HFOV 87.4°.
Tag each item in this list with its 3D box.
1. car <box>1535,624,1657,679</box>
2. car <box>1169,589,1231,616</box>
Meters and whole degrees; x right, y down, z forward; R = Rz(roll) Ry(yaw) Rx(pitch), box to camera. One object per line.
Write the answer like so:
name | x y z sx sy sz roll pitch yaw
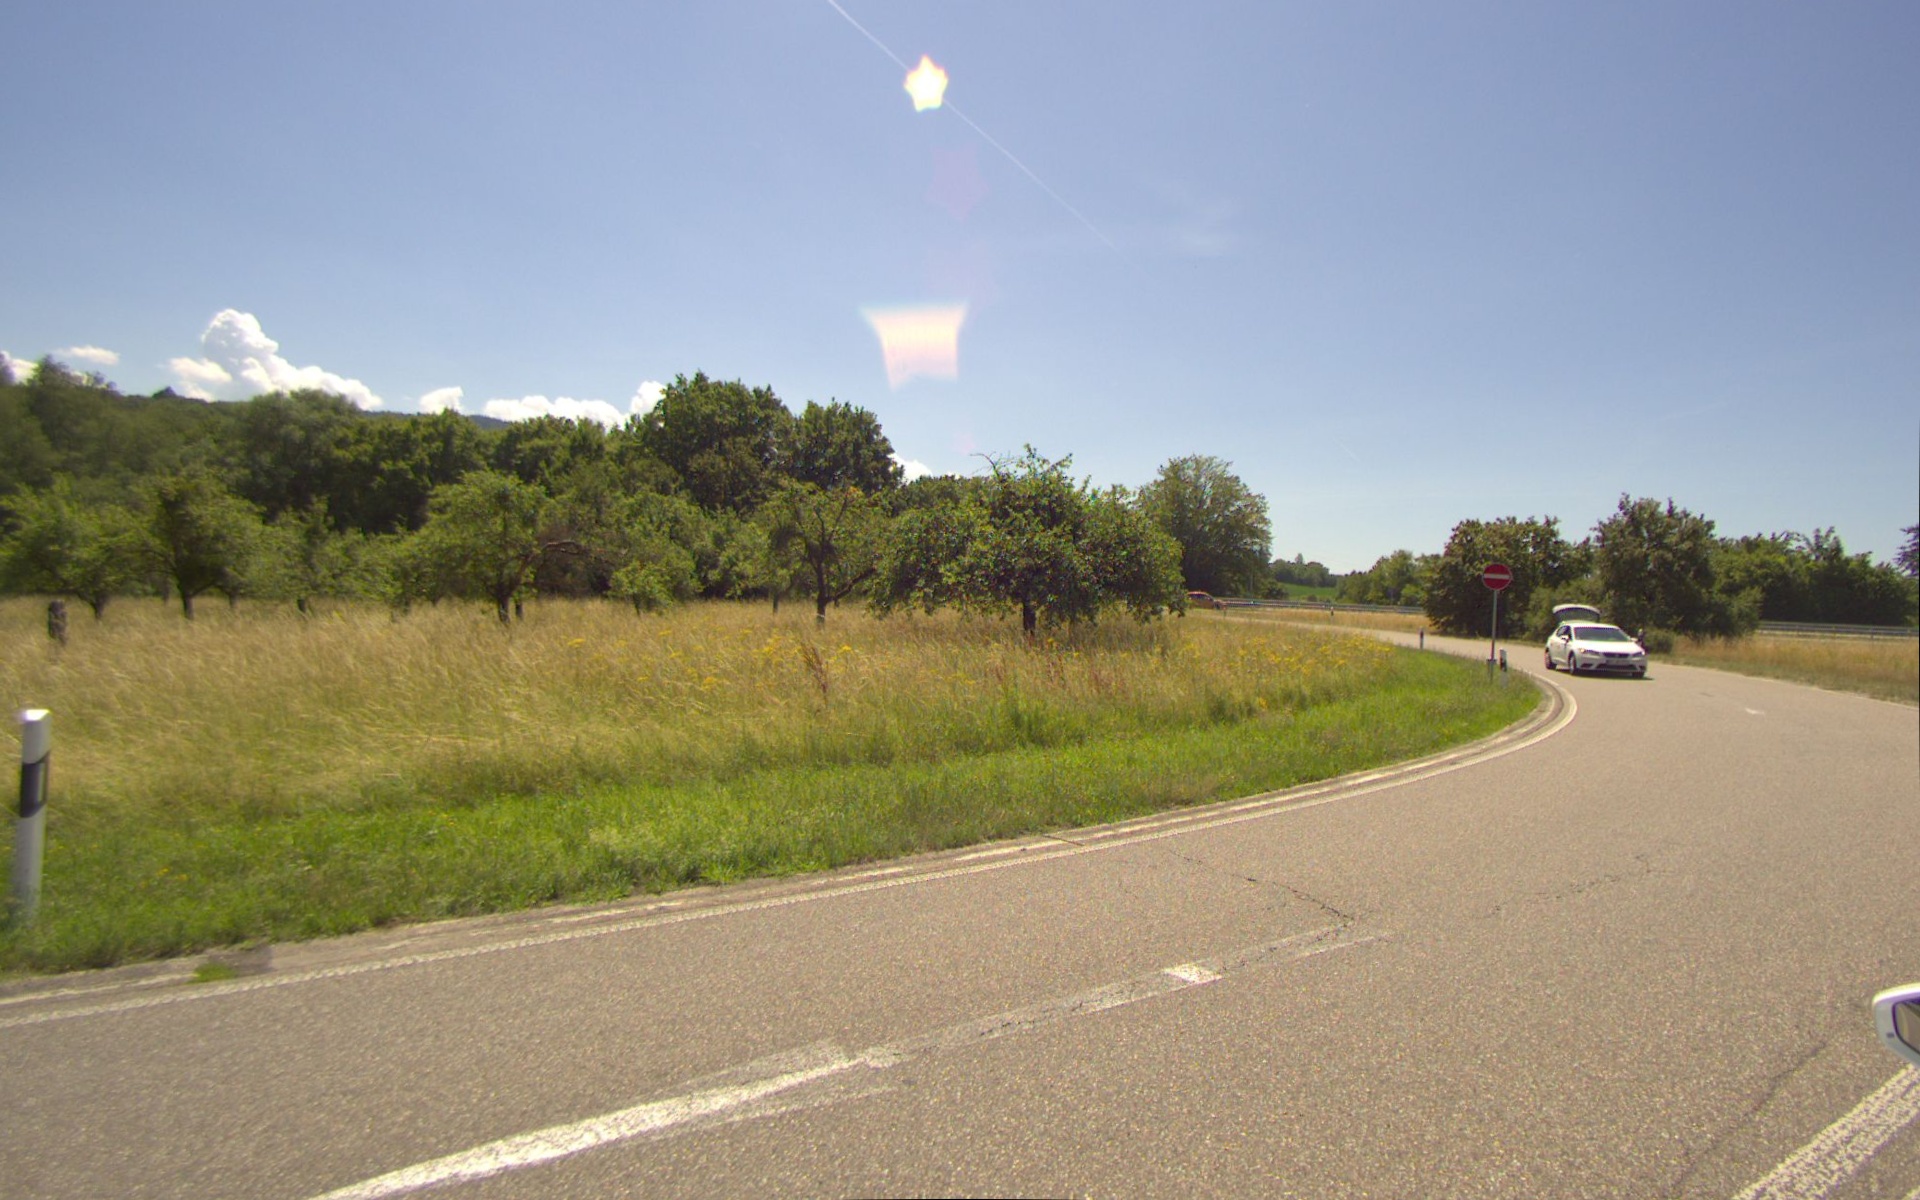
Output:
car | 18.314 1.428 29.148 1.815 1.443 4.150 0 -1 15
car | 19.713 0.182 82.519 4.448 1.813 1.996 5 1 30
